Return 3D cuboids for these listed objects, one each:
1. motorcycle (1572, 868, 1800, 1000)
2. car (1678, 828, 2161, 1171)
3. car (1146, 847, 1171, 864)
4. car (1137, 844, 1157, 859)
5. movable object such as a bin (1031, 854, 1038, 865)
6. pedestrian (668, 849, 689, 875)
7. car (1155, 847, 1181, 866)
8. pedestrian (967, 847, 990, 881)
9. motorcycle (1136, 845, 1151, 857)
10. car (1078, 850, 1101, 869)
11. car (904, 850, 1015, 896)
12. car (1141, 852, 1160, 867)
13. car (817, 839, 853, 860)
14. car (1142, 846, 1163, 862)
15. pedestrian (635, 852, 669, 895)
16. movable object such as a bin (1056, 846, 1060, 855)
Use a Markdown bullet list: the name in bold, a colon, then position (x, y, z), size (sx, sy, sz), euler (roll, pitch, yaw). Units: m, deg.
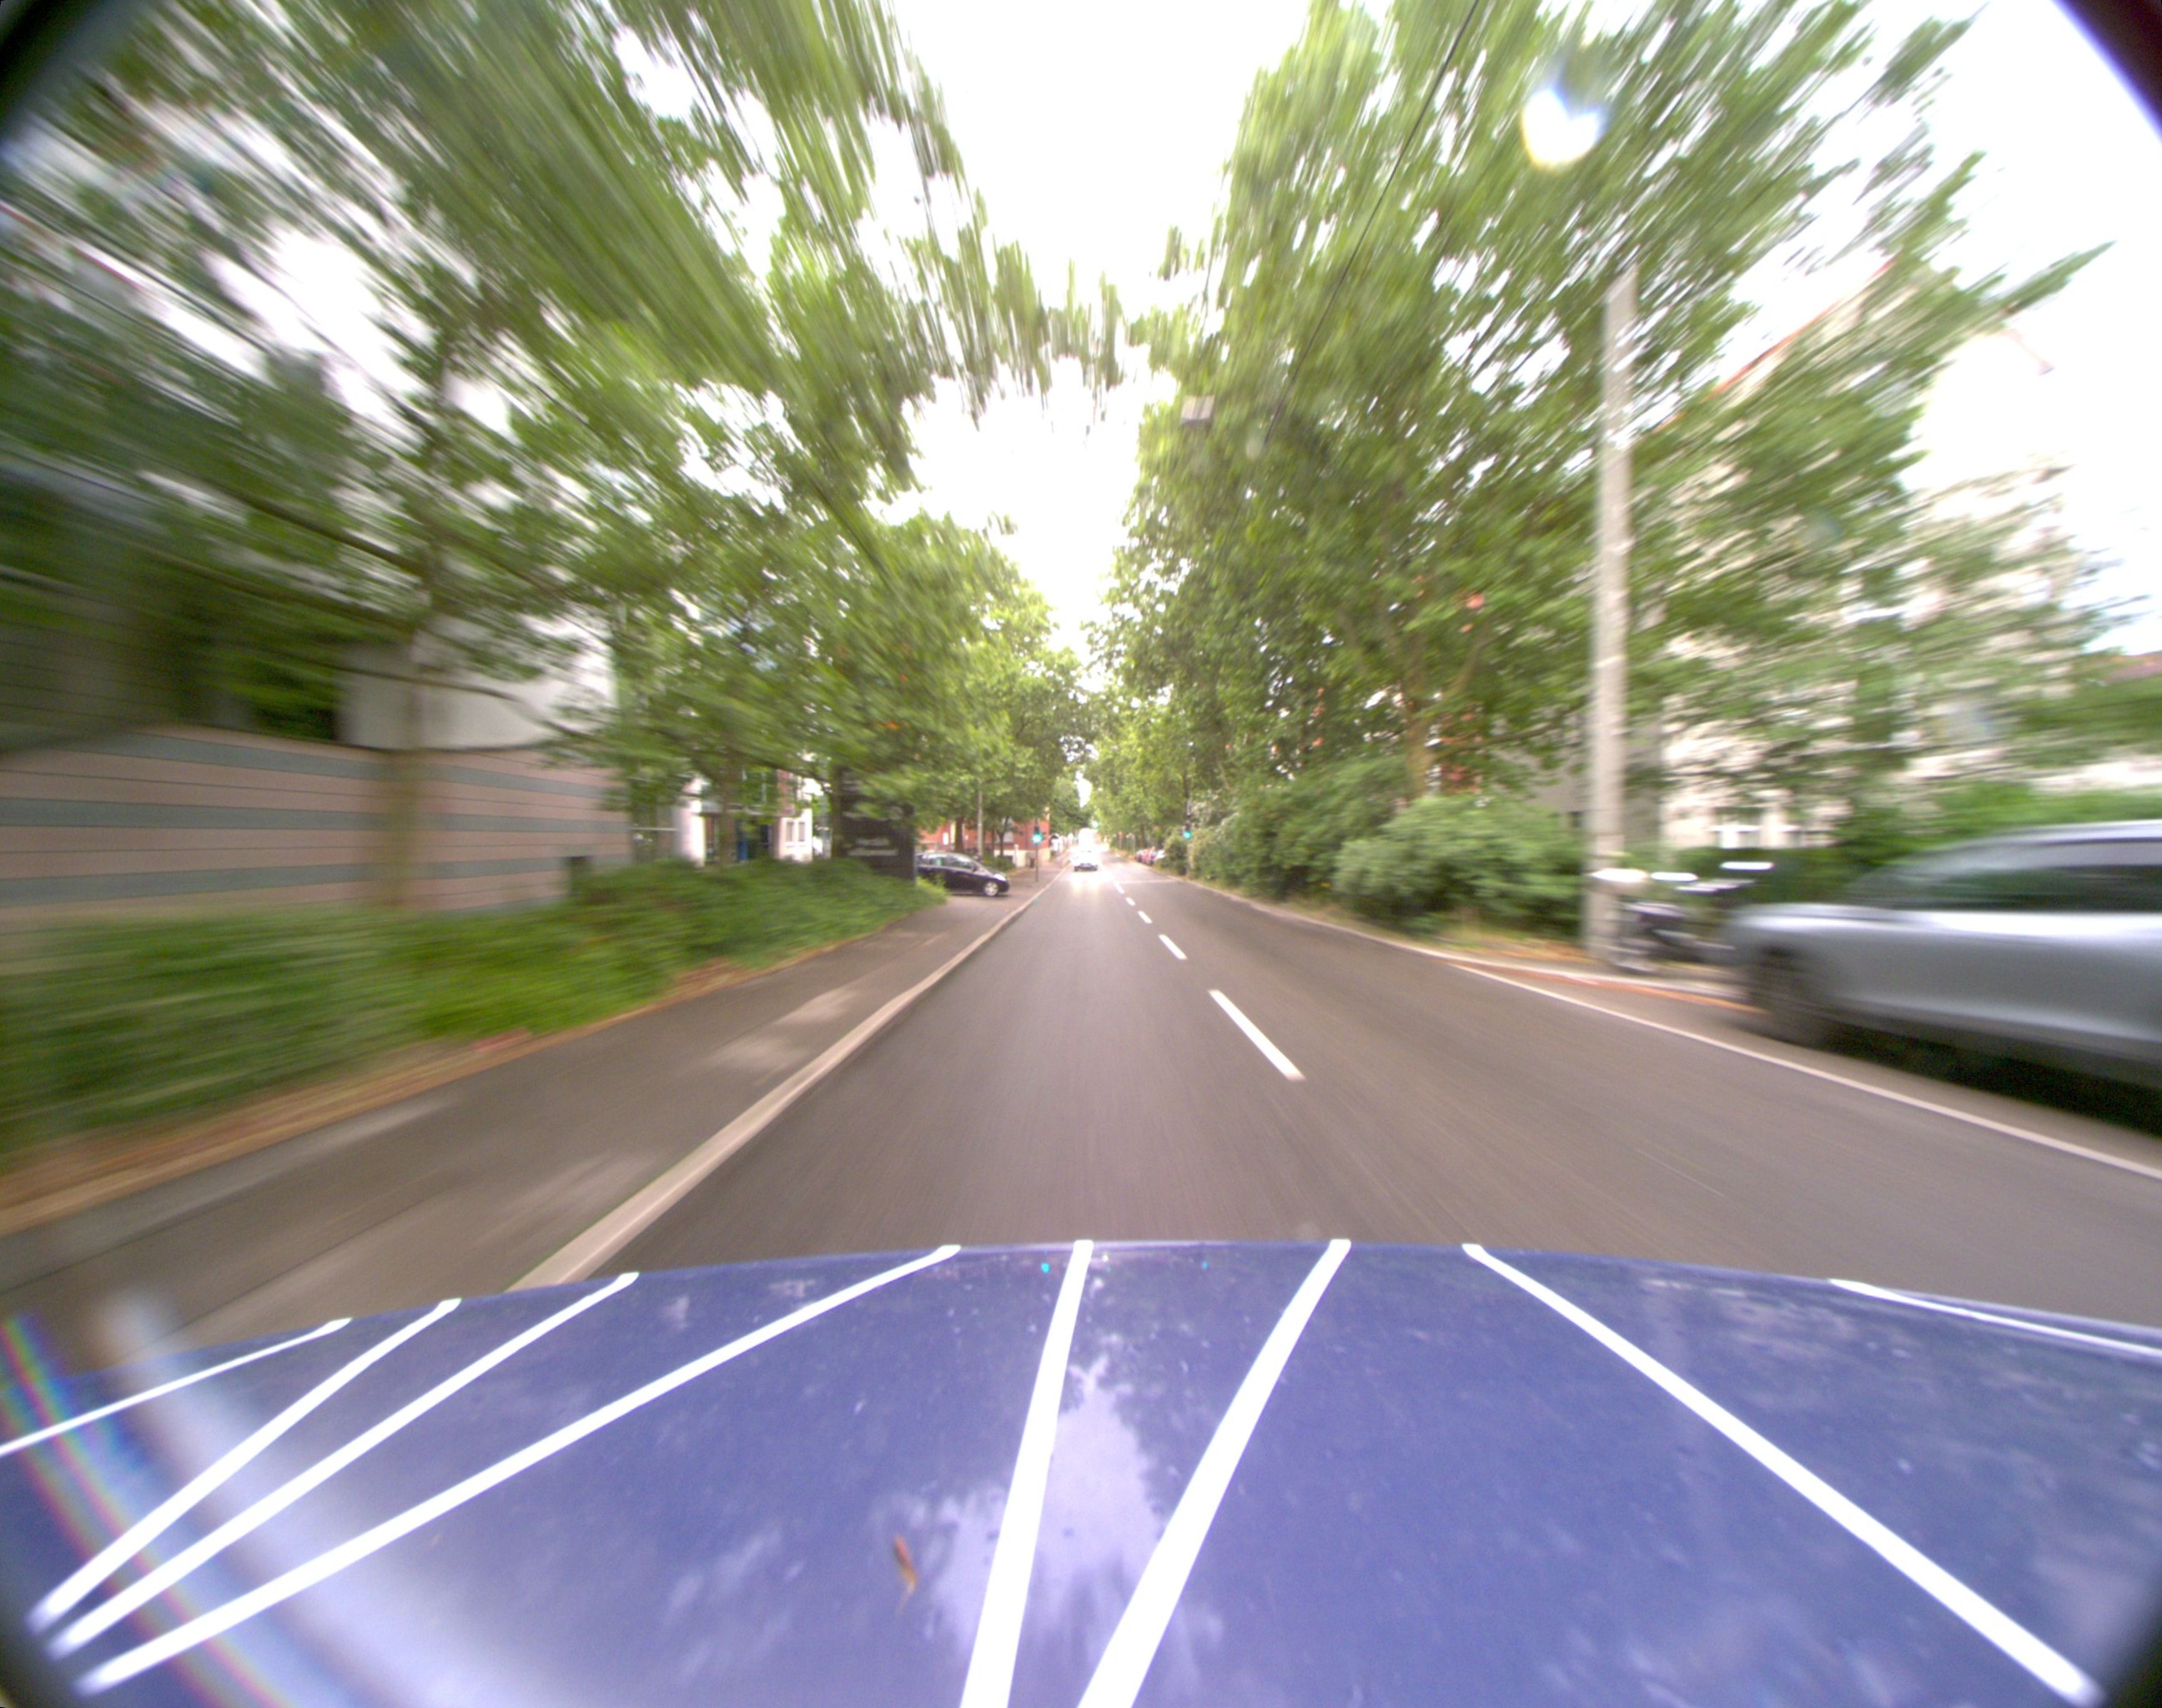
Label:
- **motorcycle**: position (6.678, 0.858, 8.463), size (1.844, 1.308, 0.783), euler (2, 1, 0)
- **car**: position (6.117, 0.748, 4.401), size (1.738, 1.648, 4.564), euler (3, 0, 2)
- **car**: position (6.966, 0.123, 68.343), size (1.721, 1.459, 4.232), euler (-1, 1, -1)
- **car**: position (7.371, -0.291, 85.567), size (1.721, 1.501, 4.802), euler (-1, 1, -1)
- **movable object such as a bin**: position (-3.919, 0.451, 64.097), size (0.592, 0.927, 0.572), euler (1, 1, 0)
- **pedestrian**: position (-17.752, 0.333, 33.529), size (0.623, 1.124, 0.562), euler (0, 1, 4)
- **car**: position (7.045, 0.176, 62.068), size (1.721, 1.459, 4.309), euler (-1, 1, 1)
- **pedestrian**: position (-4.832, 0.460, 35.831), size (0.920, 1.608, 0.702), euler (0, 1, 4)
- **motorcycle**: position (7.453, -0.377, 90.635), size (1.717, 1.333, 0.722), euler (0, 2, 1)
- **car**: position (0.624, 0.409, 60.172), size (1.692, 1.334, 3.998), euler (0, 2, -2)
- **car**: position (-4.377, 0.680, 27.810), size (3.860, 1.538, 2.025), euler (1, 1, -5)
- **car**: position (7.390, 0.561, 80.929), size (1.559, 1.459, 3.396), euler (-1, 1, -1)
- **car**: position (-23.398, -0.473, 72.447), size (1.913, 1.808, 3.996), euler (-2, 2, 1)
- **car**: position (7.026, -0.050, 74.902), size (1.721, 1.459, 3.754), euler (-1, 1, -1)
- **pedestrian**: position (-18.633, 0.822, 33.018), size (0.831, 1.817, 0.960), euler (-2, 1, 7)
- **movable object such as a bin**: position (-3.141, -0.473, 103.410), size (0.506, 1.109, 0.618), euler (0, 2, 1)
